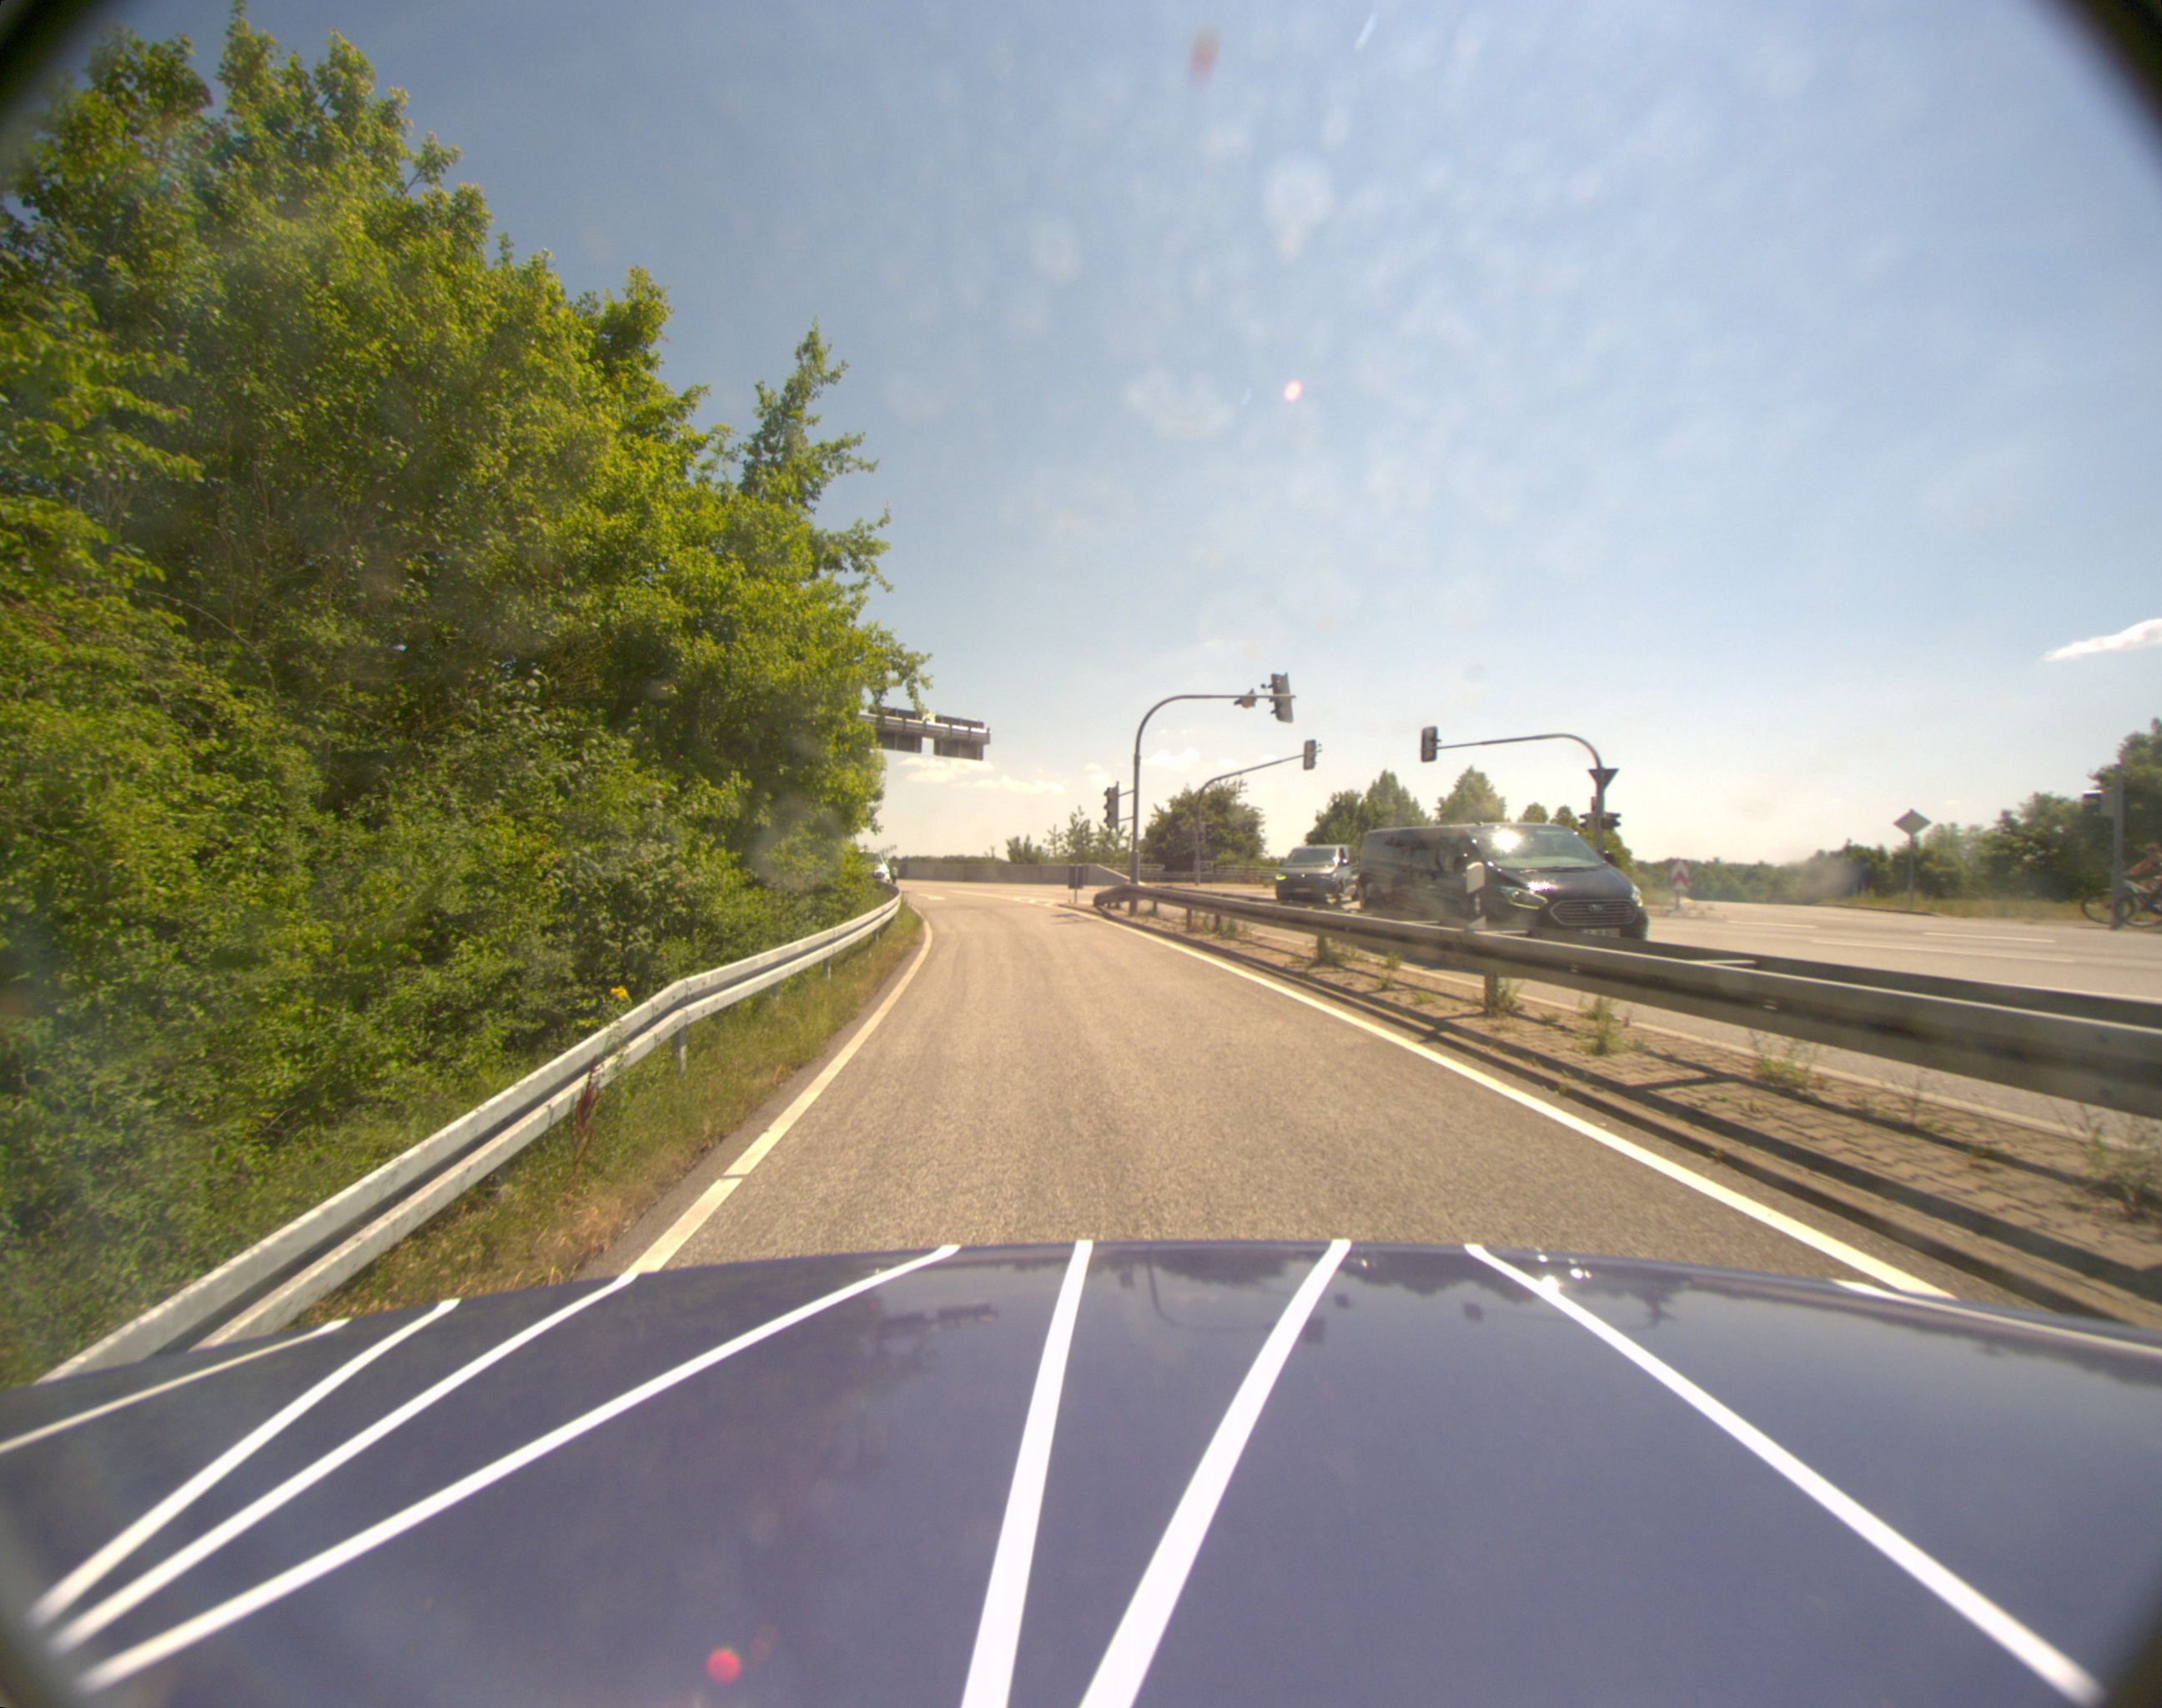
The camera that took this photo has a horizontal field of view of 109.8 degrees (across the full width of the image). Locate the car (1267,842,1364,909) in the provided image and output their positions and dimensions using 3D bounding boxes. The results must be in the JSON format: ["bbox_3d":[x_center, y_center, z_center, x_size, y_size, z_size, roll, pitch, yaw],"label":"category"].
[{"bbox_3d":[7.666,0.658,24.530,1.939,1.908,4.542,2,0,30],"label":"car"}]

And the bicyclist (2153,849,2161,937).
[{"bbox_3d":[21.328,0.752,14.616,0.532,1.708,0.729,-2,1,-25],"label":"bicyclist"}]

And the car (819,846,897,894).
[{"bbox_3d":[-11.185,0.701,37.859,2.035,2.073,5.855,-1,3,-34],"label":"car"}]

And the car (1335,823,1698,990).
[{"bbox_3d":[5.972,0.597,11.517,2.125,1.926,5.408,0,0,-4],"label":"car"}]

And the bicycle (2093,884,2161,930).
[{"bbox_3d":[21.330,1.050,14.643,0.536,0.848,2.123,-2,0,-25],"label":"bicycle"}]

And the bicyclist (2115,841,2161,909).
[{"bbox_3d":[22.347,0.421,15.943,0.409,1.396,0.683,-1,1,-24],"label":"bicyclist"}]

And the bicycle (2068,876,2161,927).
[{"bbox_3d":[22.335,0.988,16.009,0.415,1.019,1.828,-2,0,-23],"label":"bicycle"}]
